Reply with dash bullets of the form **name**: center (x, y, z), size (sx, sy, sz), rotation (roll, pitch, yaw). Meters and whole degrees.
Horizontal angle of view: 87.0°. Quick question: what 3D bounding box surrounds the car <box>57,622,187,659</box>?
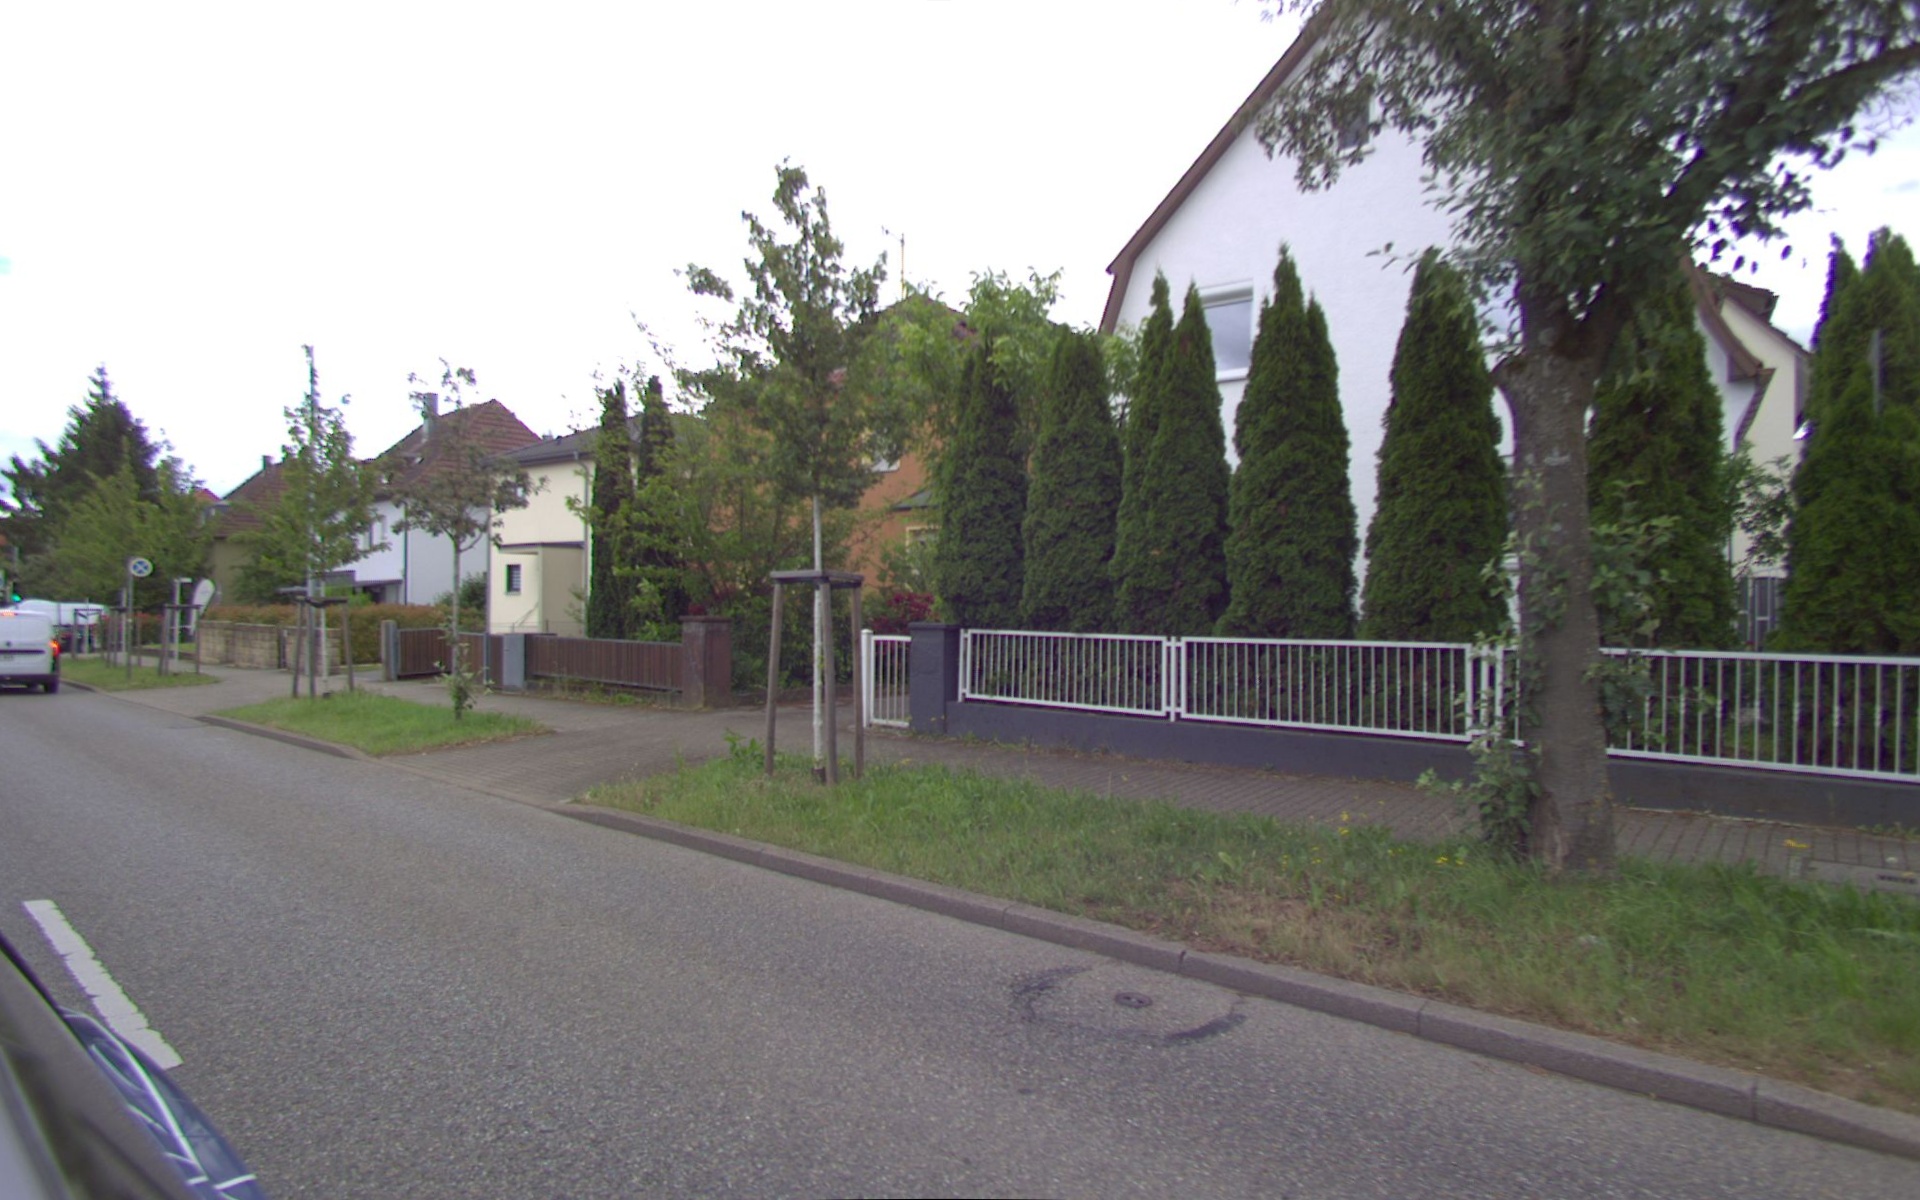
- **car**: center (-40.726, 1.944, 49.275), size (1.997, 1.633, 4.589), rotation (-2, -1, 37)

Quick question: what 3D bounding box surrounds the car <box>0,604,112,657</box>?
- **car**: center (-46.392, 1.523, 50.799), size (5.527, 2.583, 2.136), rotation (3, -2, -31)

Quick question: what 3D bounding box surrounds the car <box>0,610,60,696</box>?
- **car**: center (-21.157, 1.120, 22.048), size (4.296, 1.765, 1.776), rotation (-2, -2, 41)
